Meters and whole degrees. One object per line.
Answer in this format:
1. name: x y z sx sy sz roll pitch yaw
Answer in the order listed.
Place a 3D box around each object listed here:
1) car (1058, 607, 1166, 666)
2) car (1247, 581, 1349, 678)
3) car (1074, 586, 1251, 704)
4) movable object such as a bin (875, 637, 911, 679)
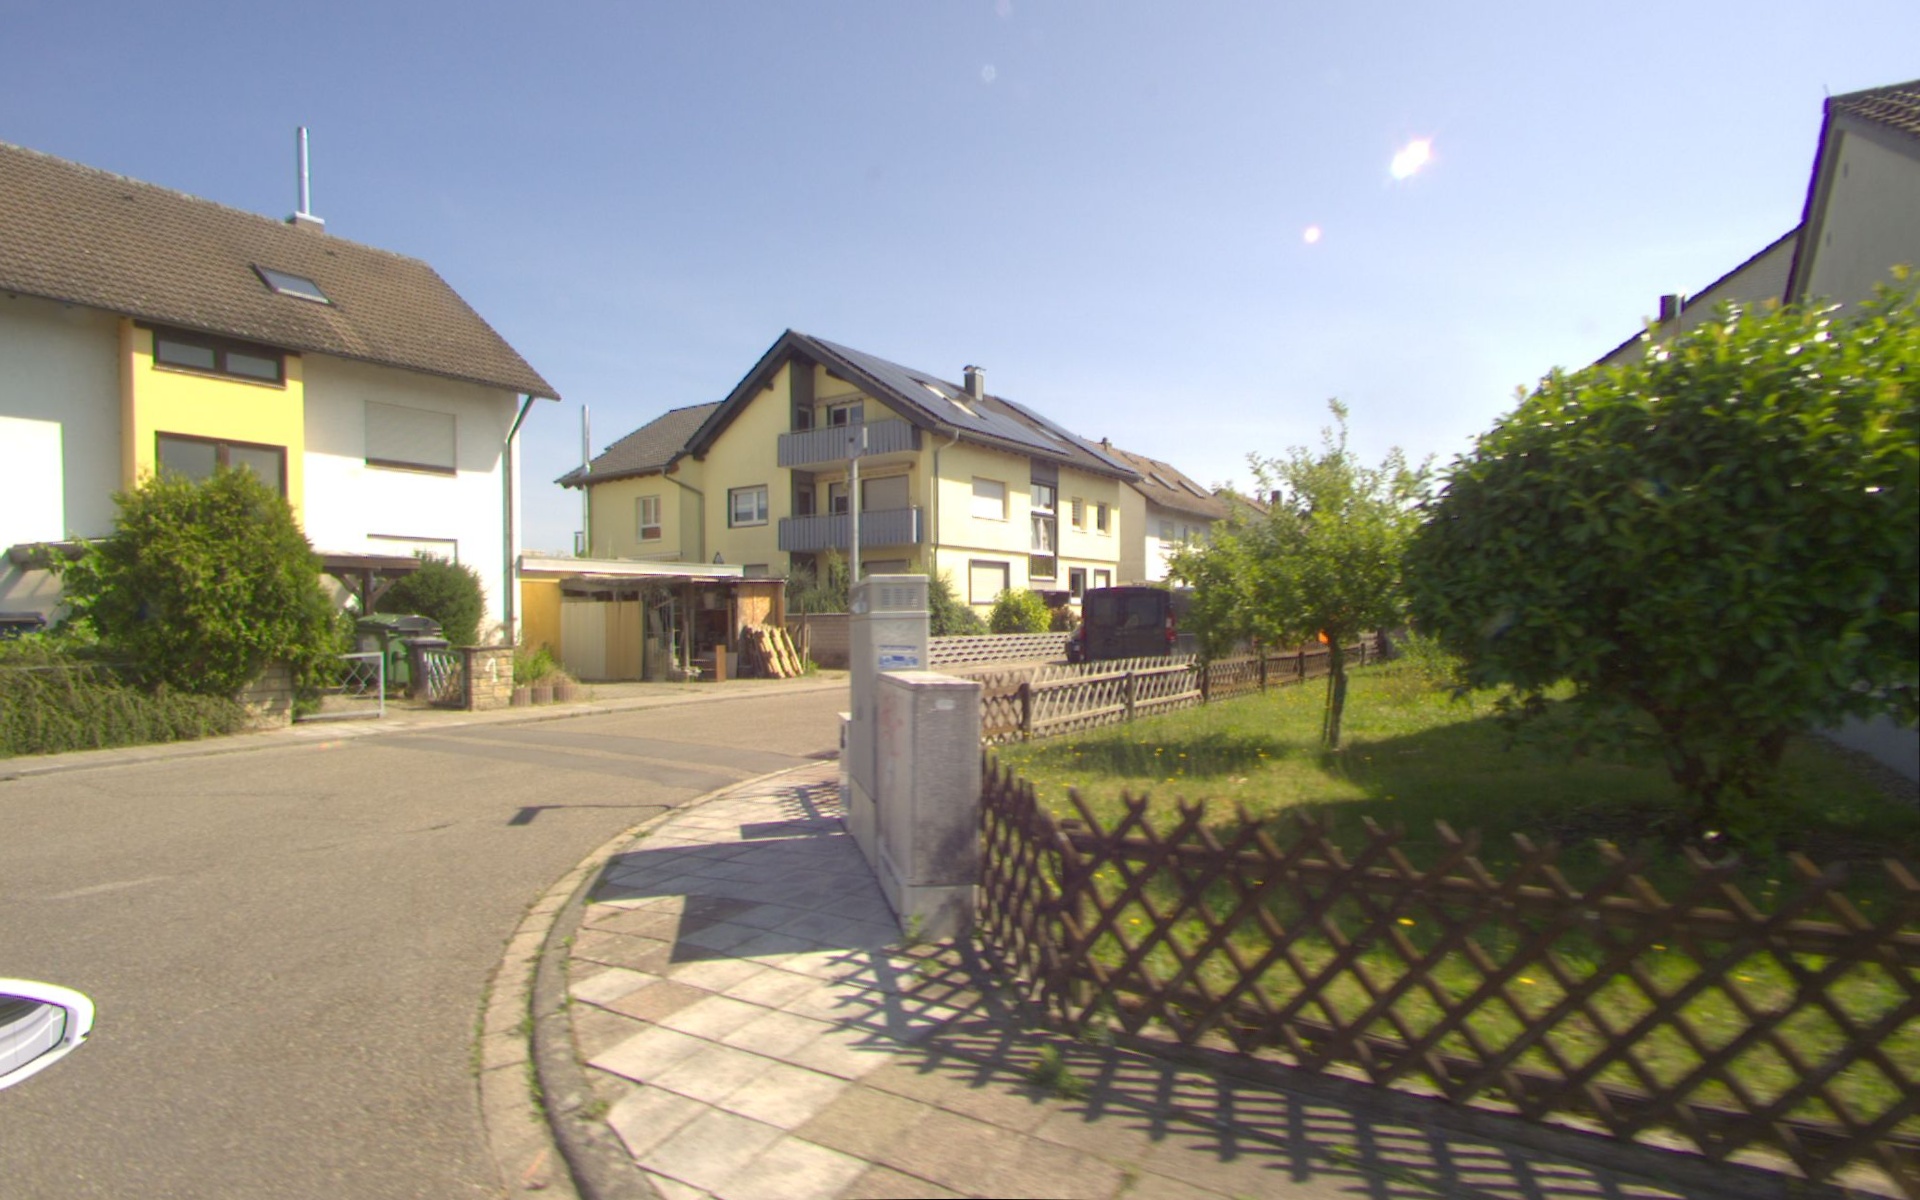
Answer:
1. car: 4.642 1.079 30.222 1.612 1.647 3.976 -1 -2 35
2. car: 8.995 0.767 26.434 1.535 2.353 4.181 -1 -1 33
3. car: 3.946 0.801 18.970 1.845 1.963 4.181 -1 -1 33
4. movable object such as a bin: -1.534 1.332 22.968 0.576 0.928 0.595 -2 -1 33
